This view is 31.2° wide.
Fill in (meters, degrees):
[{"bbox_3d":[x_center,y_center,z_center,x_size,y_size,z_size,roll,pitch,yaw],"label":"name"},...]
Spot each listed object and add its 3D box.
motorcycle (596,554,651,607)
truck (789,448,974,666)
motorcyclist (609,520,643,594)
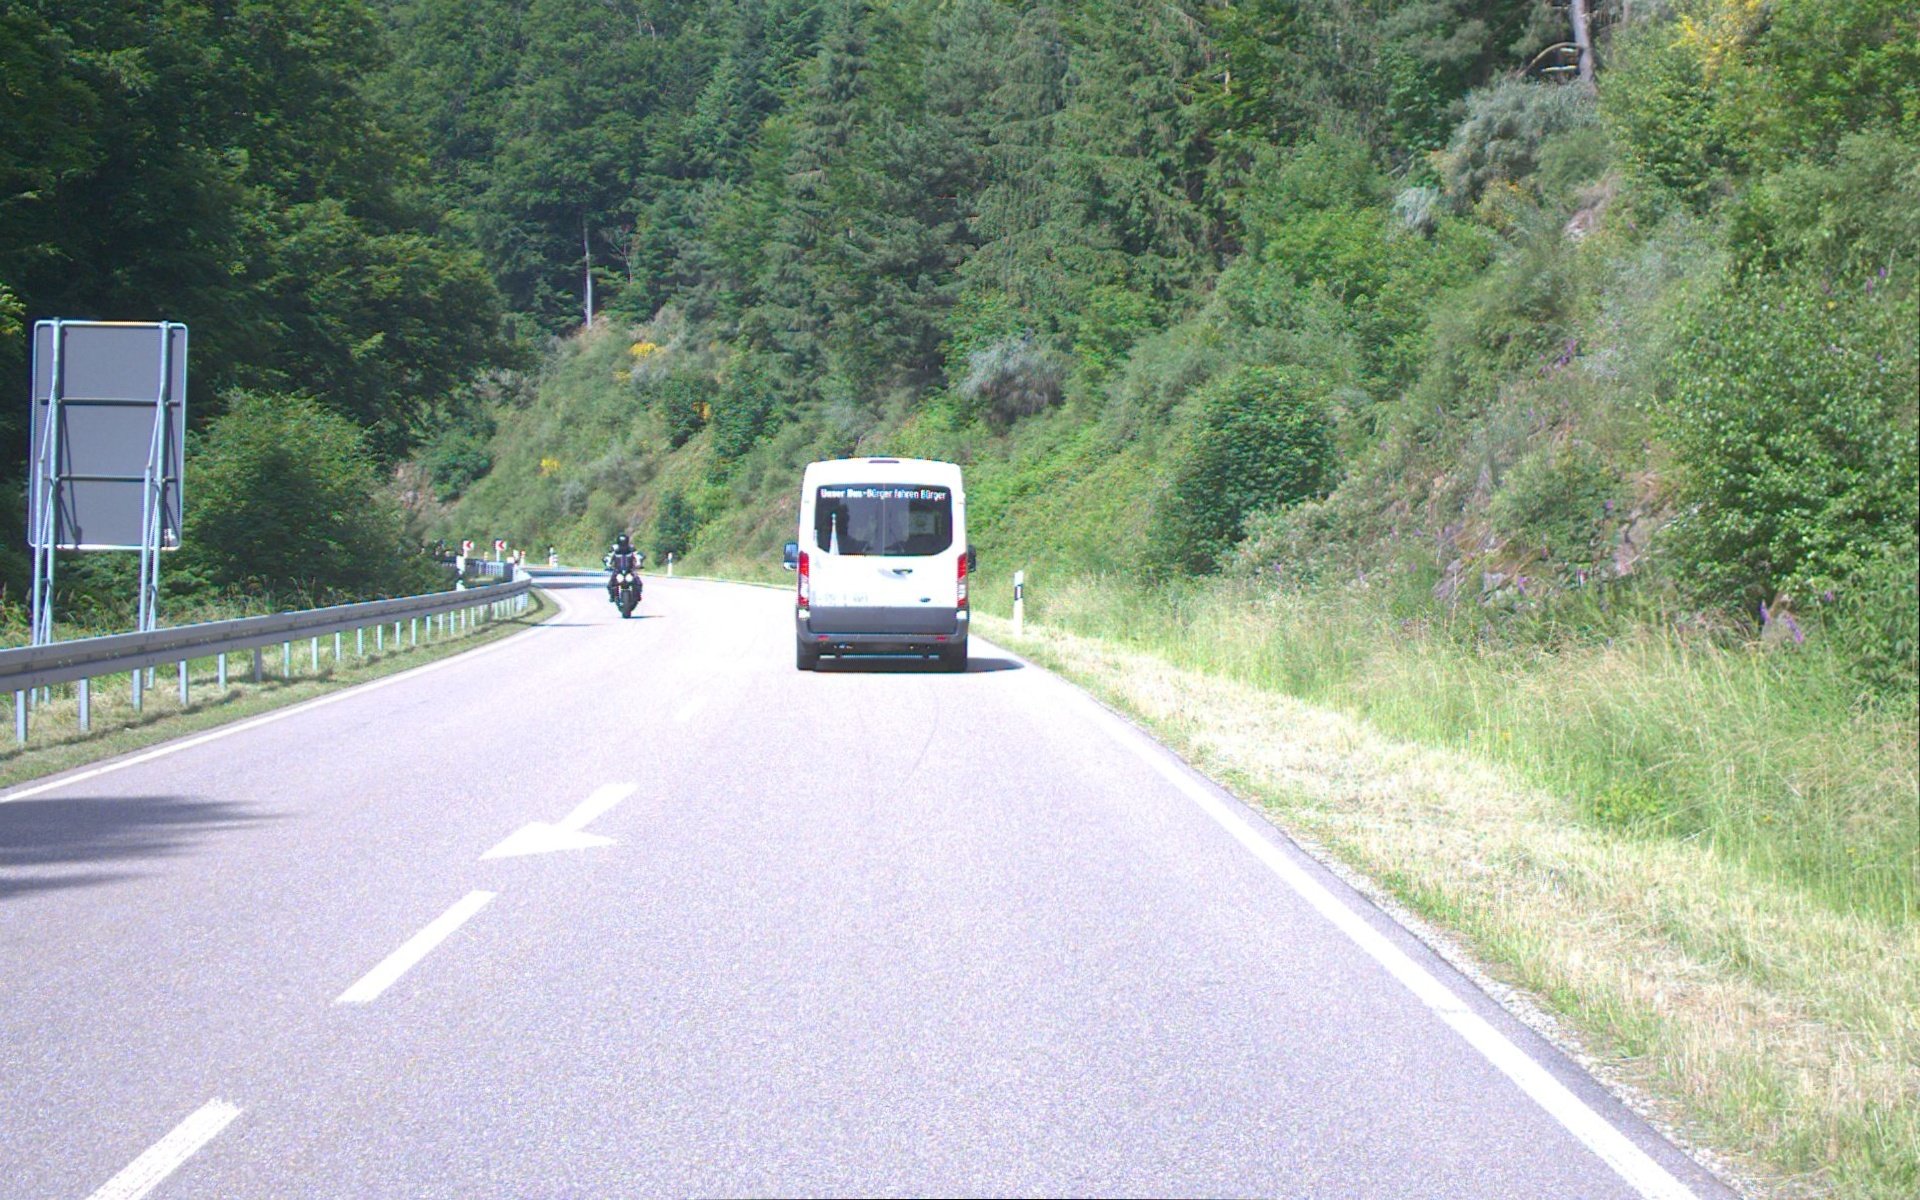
[{"bbox_3d":[-6.896,-0.406,70.585,0.984,1.068,1.963,0,1,-2],"label":"motorcycle"},{"bbox_3d":[-1.004,-0.534,41.473,2.083,2.451,4.875,0,1,-3],"label":"truck"},{"bbox_3d":[-6.859,-0.881,70.610,0.658,1.508,0.934,0,1,-3],"label":"motorcyclist"}]
